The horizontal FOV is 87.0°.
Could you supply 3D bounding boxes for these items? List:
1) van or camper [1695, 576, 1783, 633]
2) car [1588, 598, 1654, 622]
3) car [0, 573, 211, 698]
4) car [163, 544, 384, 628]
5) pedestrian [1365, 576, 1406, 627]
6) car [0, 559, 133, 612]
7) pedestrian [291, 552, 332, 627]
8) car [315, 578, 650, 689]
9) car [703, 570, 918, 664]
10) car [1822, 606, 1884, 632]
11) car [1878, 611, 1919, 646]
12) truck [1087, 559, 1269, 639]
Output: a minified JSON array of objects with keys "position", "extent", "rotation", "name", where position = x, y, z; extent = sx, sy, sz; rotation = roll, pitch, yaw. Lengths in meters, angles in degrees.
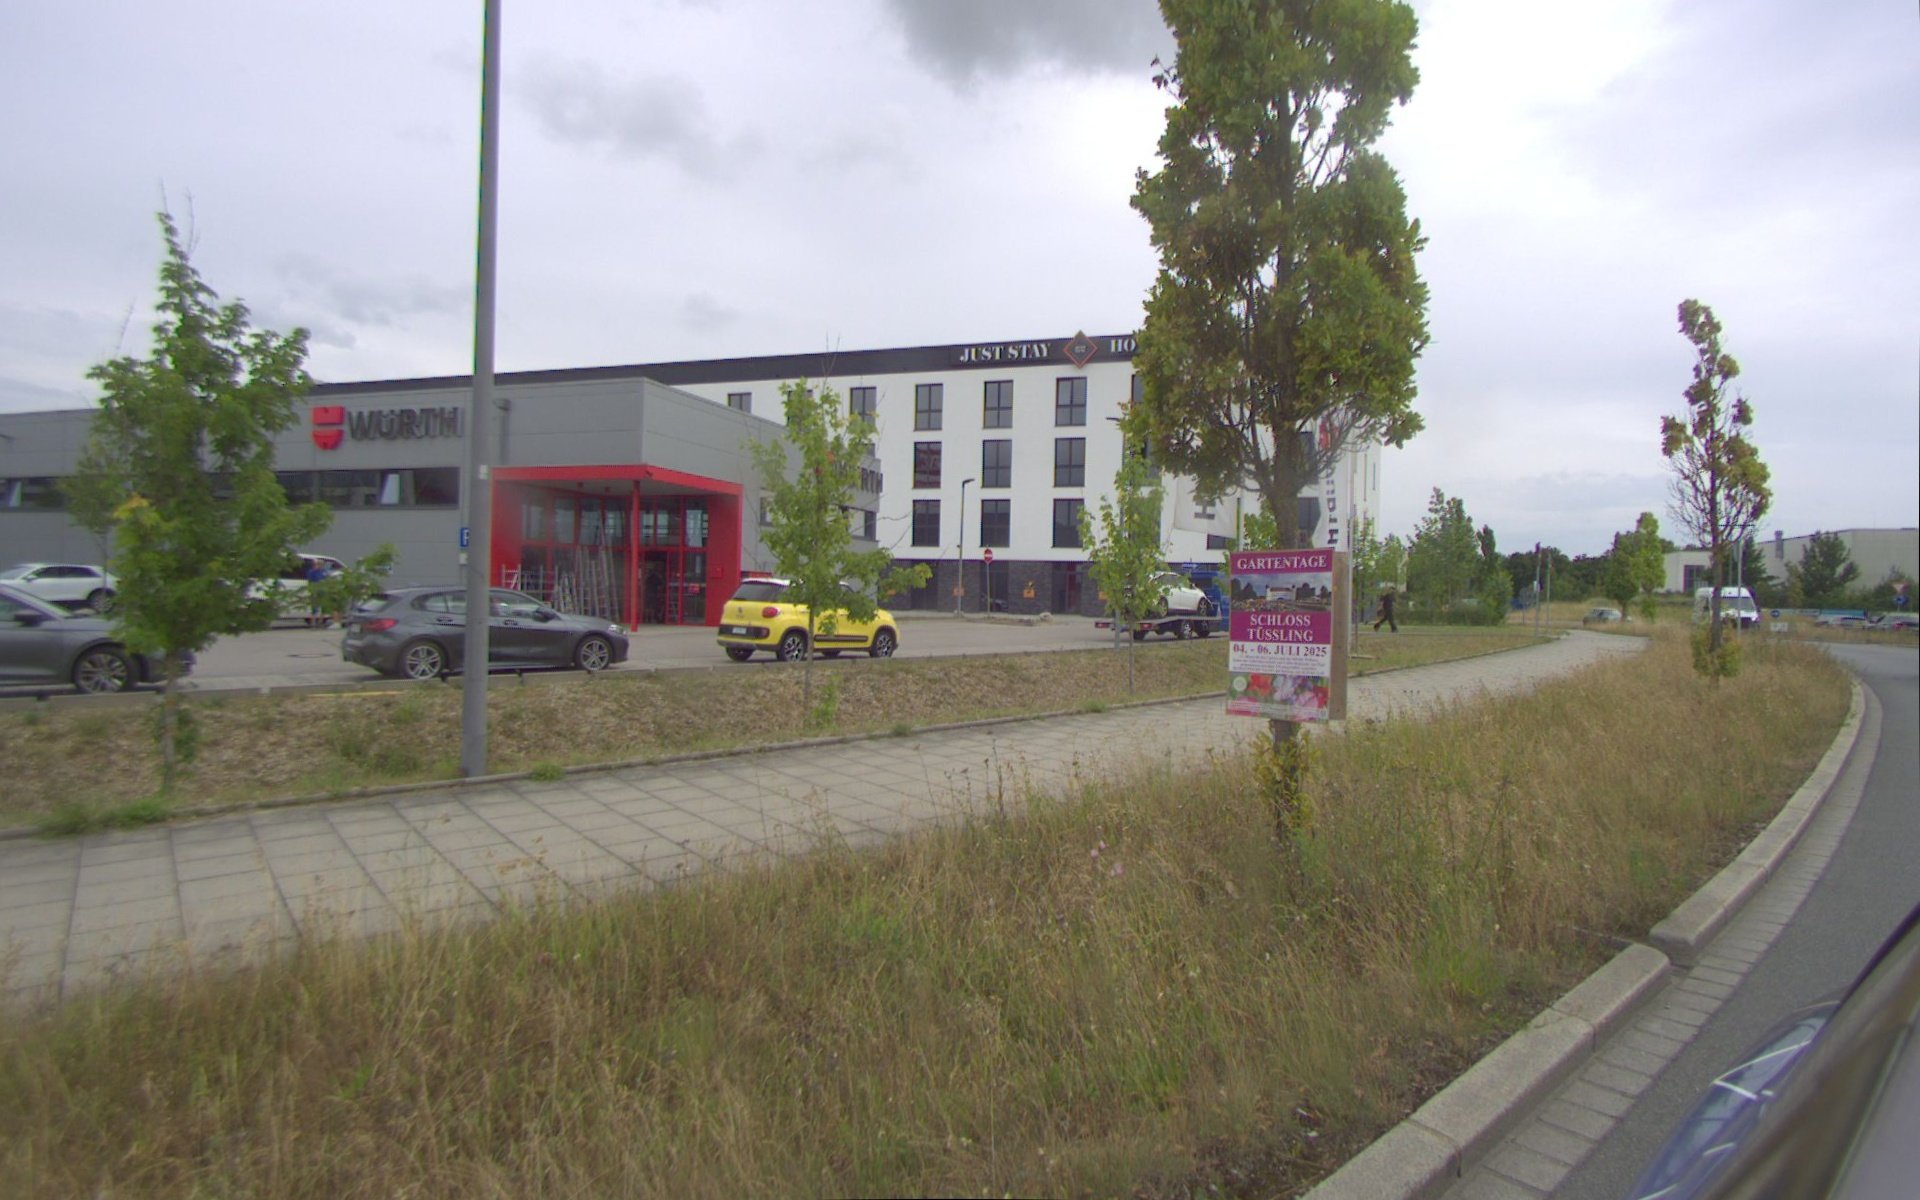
[{"position":[39.213,0.191,51.102],"extent":[2.242,2.649,5.648],"rotation":[1,1,25],"name":"van or camper"},{"position":[46.799,0.700,71.754],"extent":[1.961,1.605,4.002],"rotation":[0,0,-3],"name":"car"},{"position":[-12.095,0.395,12.161],"extent":[4.798,1.455,1.865],"rotation":[0,1,-44],"name":"car"},{"position":[-17.911,-0.371,26.699],"extent":[1.973,2.012,4.609],"rotation":[1,1,18],"name":"car"},{"position":[16.325,0.046,38.825],"extent":[1.189,1.880,1.060],"rotation":[2,2,38],"name":"pedestrian"},{"position":[-28.908,-0.483,31.478],"extent":[2.056,1.538,4.544],"rotation":[2,2,21],"name":"car"},{"position":[-16.496,-0.265,25.753],"extent":[0.785,1.892,0.615],"rotation":[1,0,-26],"name":"pedestrian"},{"position":[-7.579,0.413,16.395],"extent":[1.994,1.515,4.535],"rotation":[2,2,44],"name":"car"},{"position":[-2.942,0.299,20.731],"extent":[1.759,1.707,4.351],"rotation":[1,1,38],"name":"car"},{"position":[50.105,1.061,56.859],"extent":[1.772,1.338,3.960],"rotation":[0,1,28],"name":"car"},{"position":[45.839,1.348,48.161],"extent":[2.154,1.501,4.852],"rotation":[1,1,30],"name":"car"},{"position":[7.453,-0.042,33.643],"extent":[2.225,2.355,8.090],"rotation":[1,1,42],"name":"truck"}]
